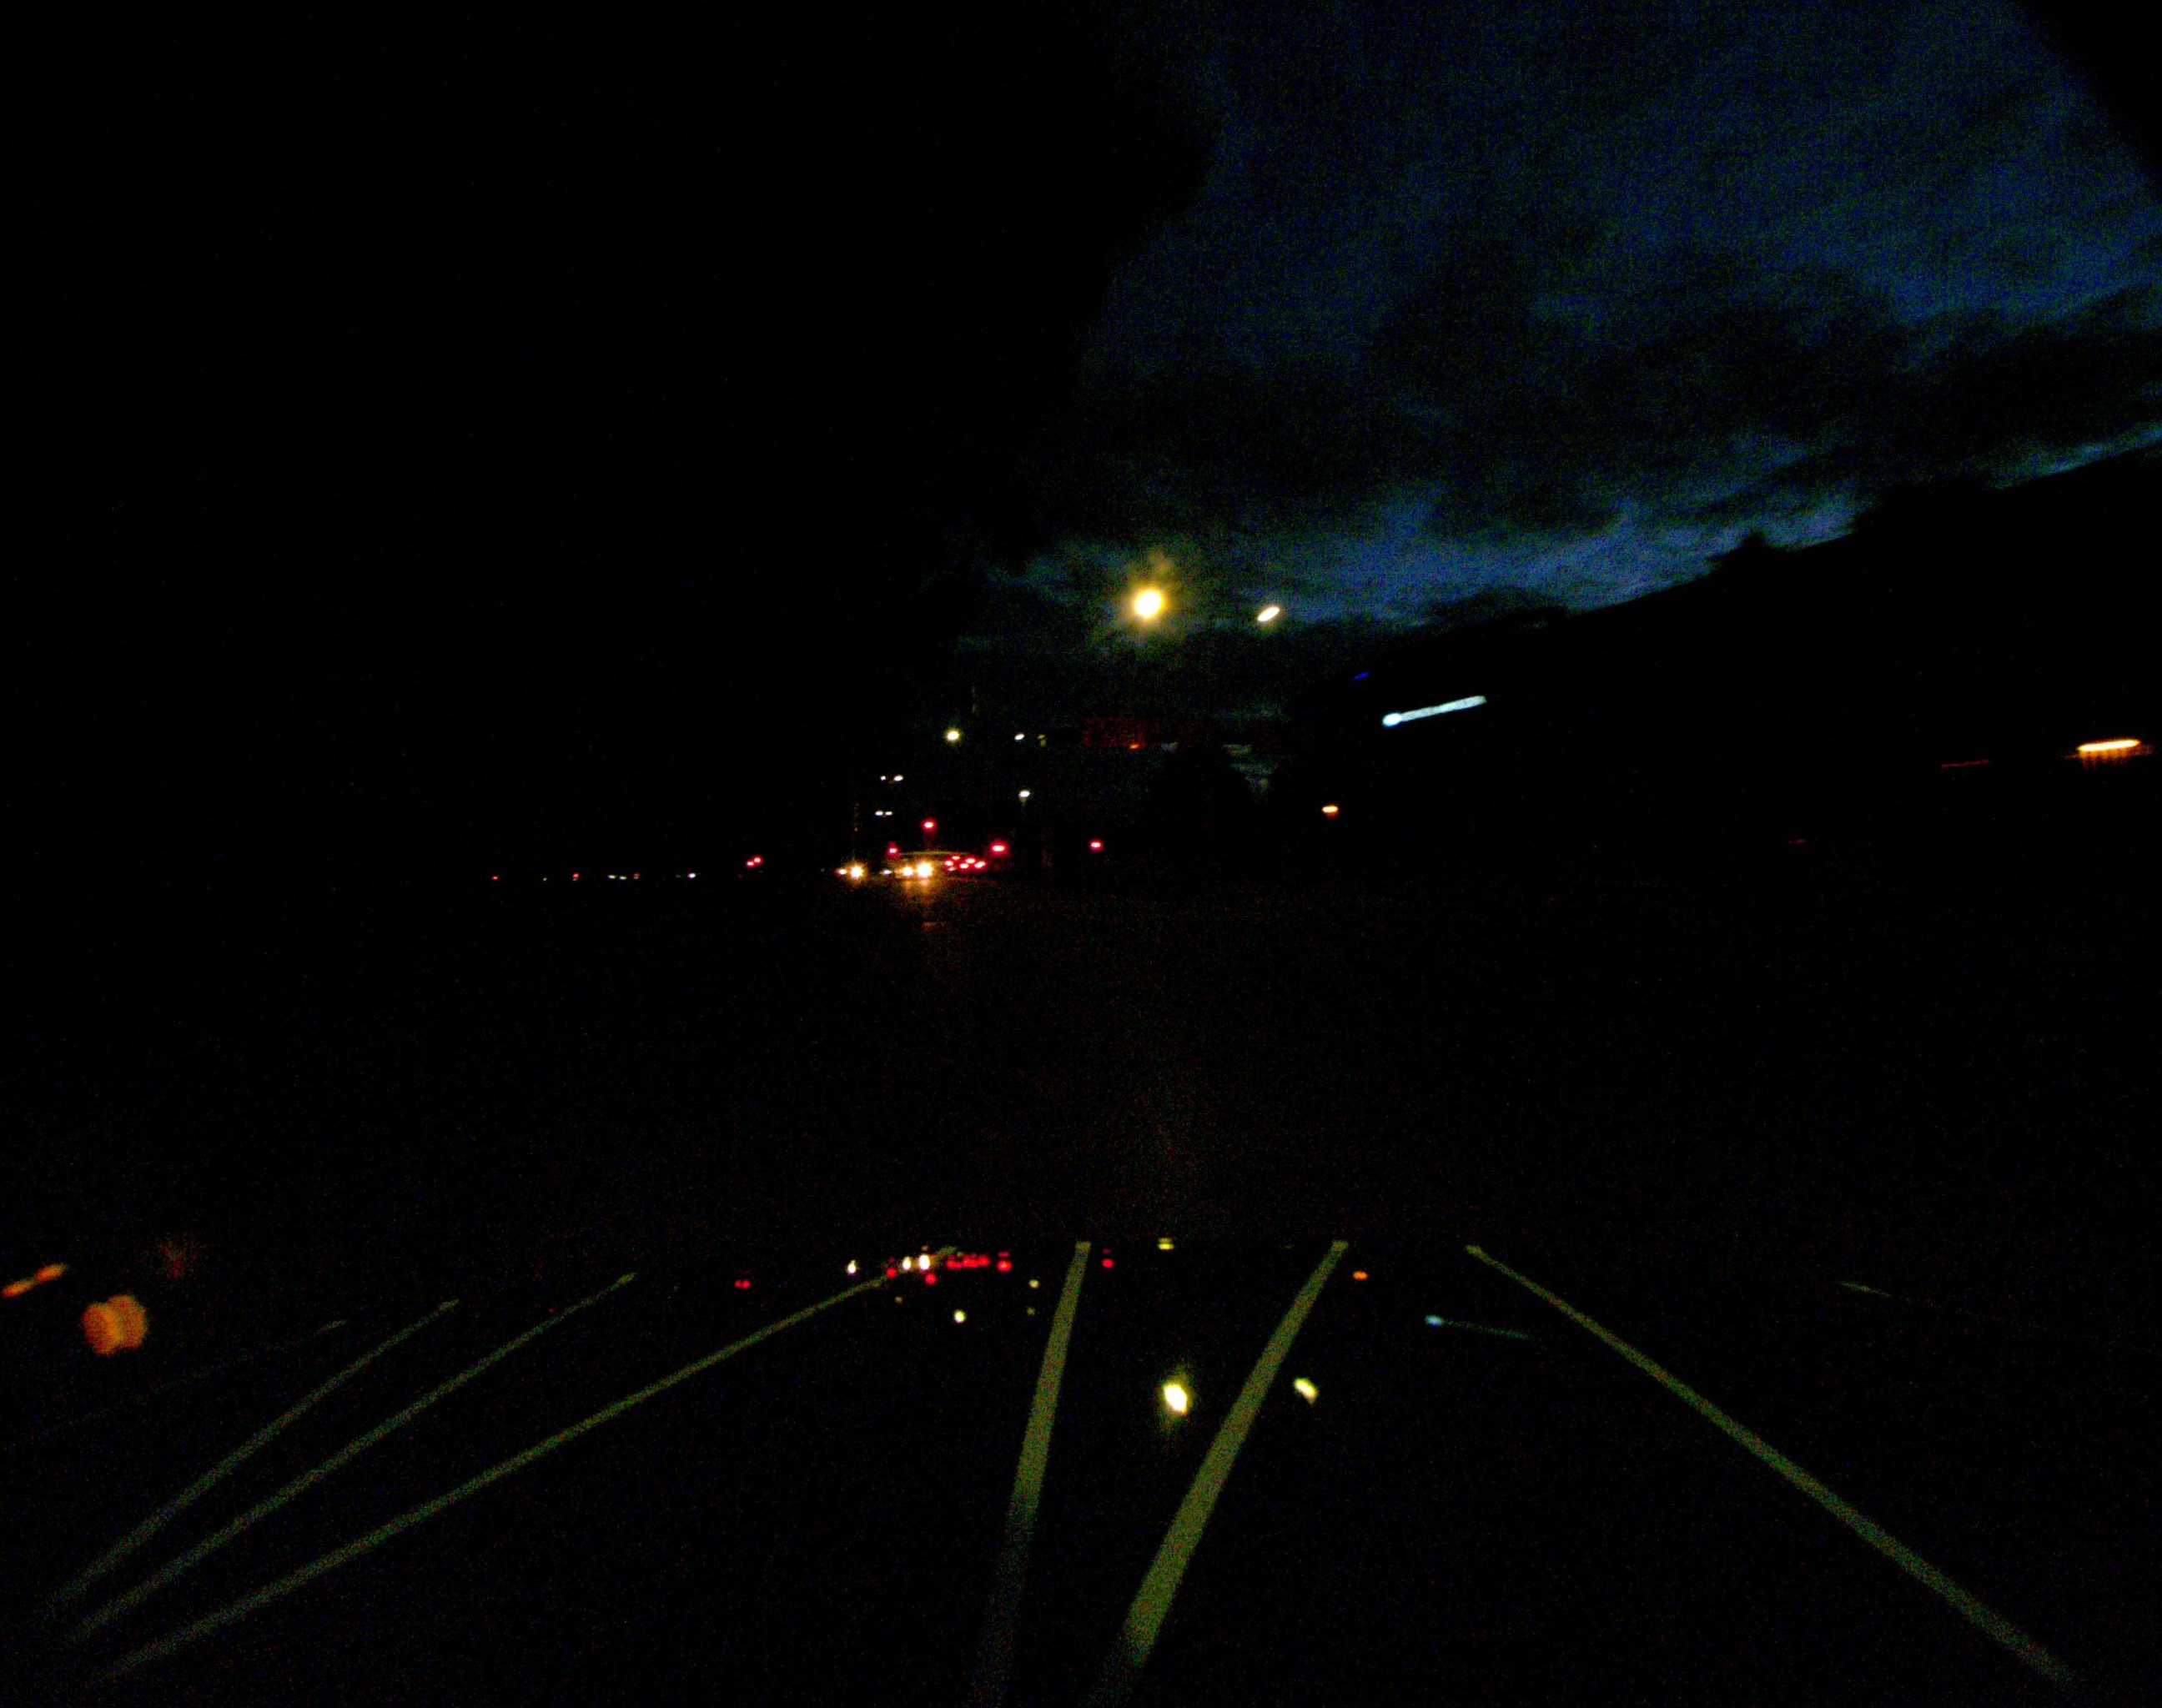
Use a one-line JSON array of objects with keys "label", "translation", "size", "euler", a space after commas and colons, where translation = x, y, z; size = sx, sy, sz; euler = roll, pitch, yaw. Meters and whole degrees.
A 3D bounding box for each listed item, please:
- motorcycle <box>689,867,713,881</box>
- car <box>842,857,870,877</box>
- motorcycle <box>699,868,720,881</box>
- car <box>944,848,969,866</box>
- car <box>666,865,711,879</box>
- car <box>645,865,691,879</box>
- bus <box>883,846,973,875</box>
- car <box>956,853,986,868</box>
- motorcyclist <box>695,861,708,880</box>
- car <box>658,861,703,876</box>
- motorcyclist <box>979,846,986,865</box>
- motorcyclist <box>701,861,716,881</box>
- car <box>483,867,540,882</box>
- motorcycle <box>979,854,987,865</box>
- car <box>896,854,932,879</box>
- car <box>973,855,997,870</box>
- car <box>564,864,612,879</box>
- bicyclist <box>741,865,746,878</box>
[{"label": "motorcycle", "translation": [-36.809, 1.904, 73.642], "size": [0.847, 1.175, 1.824], "euler": [1, 4, 36]}, {"label": "car", "translation": [-18.417, 1.023, 62.070], "size": [1.673, 1.472, 3.769], "euler": [-2, 1, -23]}, {"label": "motorcycle", "translation": [-35.889, 1.981, 73.366], "size": [0.721, 1.028, 1.579], "euler": [2, 6, 42]}, {"label": "car", "translation": [-13.416, 0.360, 81.861], "size": [1.851, 1.803, 4.768], "euler": [-1, -1, -19]}, {"label": "car", "translation": [-47.753, 2.242, 92.598], "size": [4.589, 1.623, 1.855], "euler": [-1, -1, -18]}, {"label": "car", "translation": [-46.484, 2.057, 85.544], "size": [4.294, 1.437, 1.784], "euler": [-1, -2, -17]}, {"label": "bus", "translation": [-21.399, 0.866, 106.807], "size": [12.298, 3.766, 2.610], "euler": [-1, -2, -36]}, {"label": "car", "translation": [-10.821, 0.642, 74.438], "size": [1.879, 1.389, 4.830], "euler": [-1, -1, -20]}, {"label": "motorcyclist", "translation": [-36.789, 1.586, 73.646], "size": [0.682, 1.750, 0.791], "euler": [1, 5, 36]}, {"label": "car", "translation": [-46.884, 1.673, 89.030], "size": [4.423, 1.672, 1.912], "euler": [-1, -2, -17]}, {"label": "motorcyclist", "translation": [-10.985, 0.165, 85.014], "size": [0.636, 2.001, 0.767], "euler": [-1, -1, -14]}, {"label": "motorcyclist", "translation": [-35.940, 1.609, 73.251], "size": [0.914, 1.799, 0.872], "euler": [2, 6, 42]}, {"label": "car", "translation": [-60.293, 2.160, 80.485], "size": [4.400, 1.381, 1.835], "euler": [-1, 0, -18]}, {"label": "motorcycle", "translation": [-10.976, 0.663, 84.921], "size": [0.673, 1.156, 1.806], "euler": [-1, -1, -14]}, {"label": "car", "translation": [-11.890, 0.888, 53.955], "size": [1.673, 1.643, 4.402], "euler": [-2, 0, -23]}, {"label": "car", "translation": [-10.256, 0.898, 81.307], "size": [1.776, 1.438, 3.775], "euler": [-1, -1, -19]}, {"label": "car", "translation": [-53.850, 1.933, 83.075], "size": [4.003, 1.515, 1.835], "euler": [-1, -1, -18]}, {"label": "bicyclist", "translation": [-44.103, 2.314, 99.375], "size": [0.604, 1.641, 0.998], "euler": [-1, -1, -24]}]
